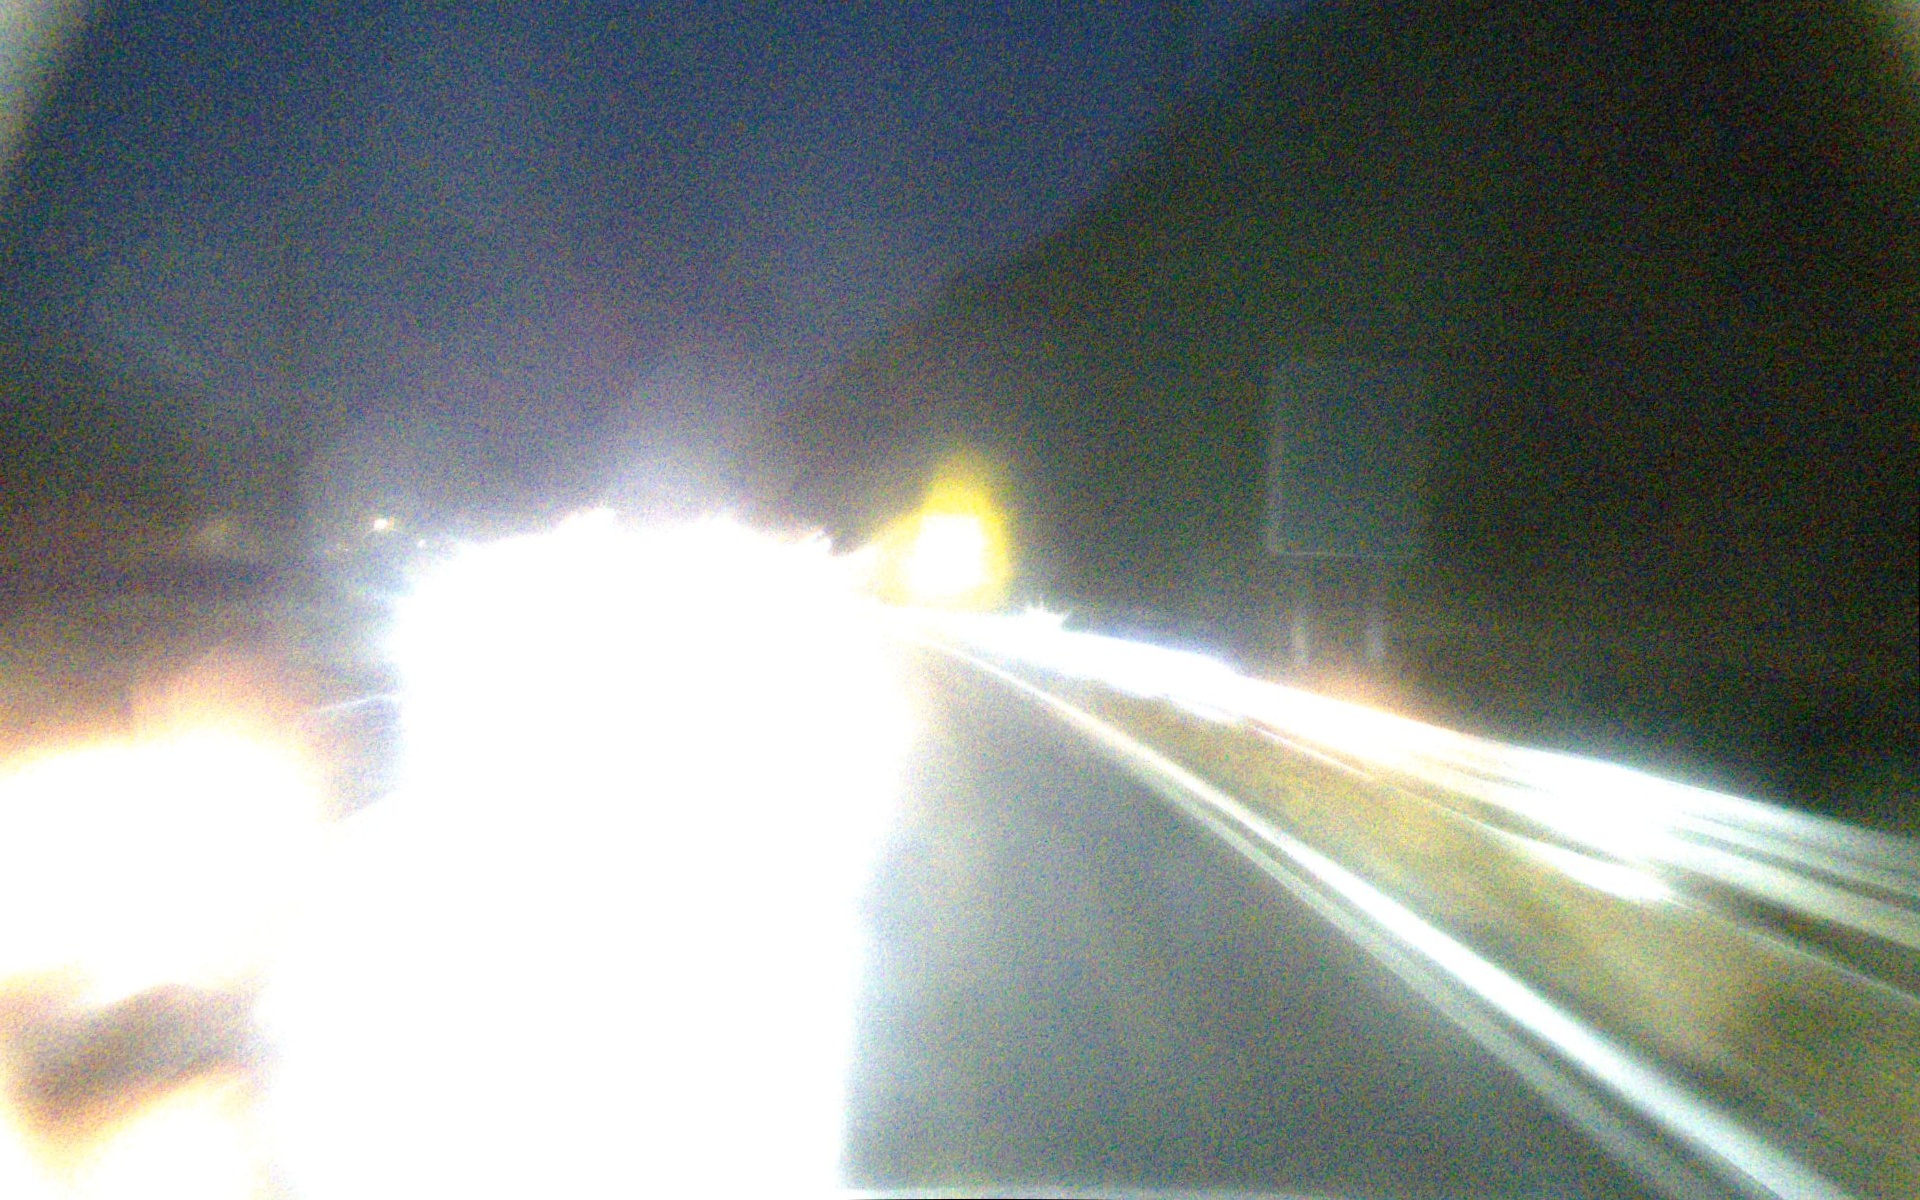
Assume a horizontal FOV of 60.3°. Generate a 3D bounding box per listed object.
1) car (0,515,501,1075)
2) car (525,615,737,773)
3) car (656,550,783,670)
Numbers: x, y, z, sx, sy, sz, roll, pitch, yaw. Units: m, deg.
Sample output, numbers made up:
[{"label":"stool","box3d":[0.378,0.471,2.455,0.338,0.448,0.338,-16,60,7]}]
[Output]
[{"label":"car","box3d":[-3.139,0.598,6.773,1.654,1.710,3.466,0,0,-2]},{"label":"car","box3d":[-3.661,0.978,19.146,1.763,1.547,4.532,-1,0,-3]},{"label":"car","box3d":[-4.480,0.178,31.349,1.953,2.111,3.998,1,0,-3]}]
